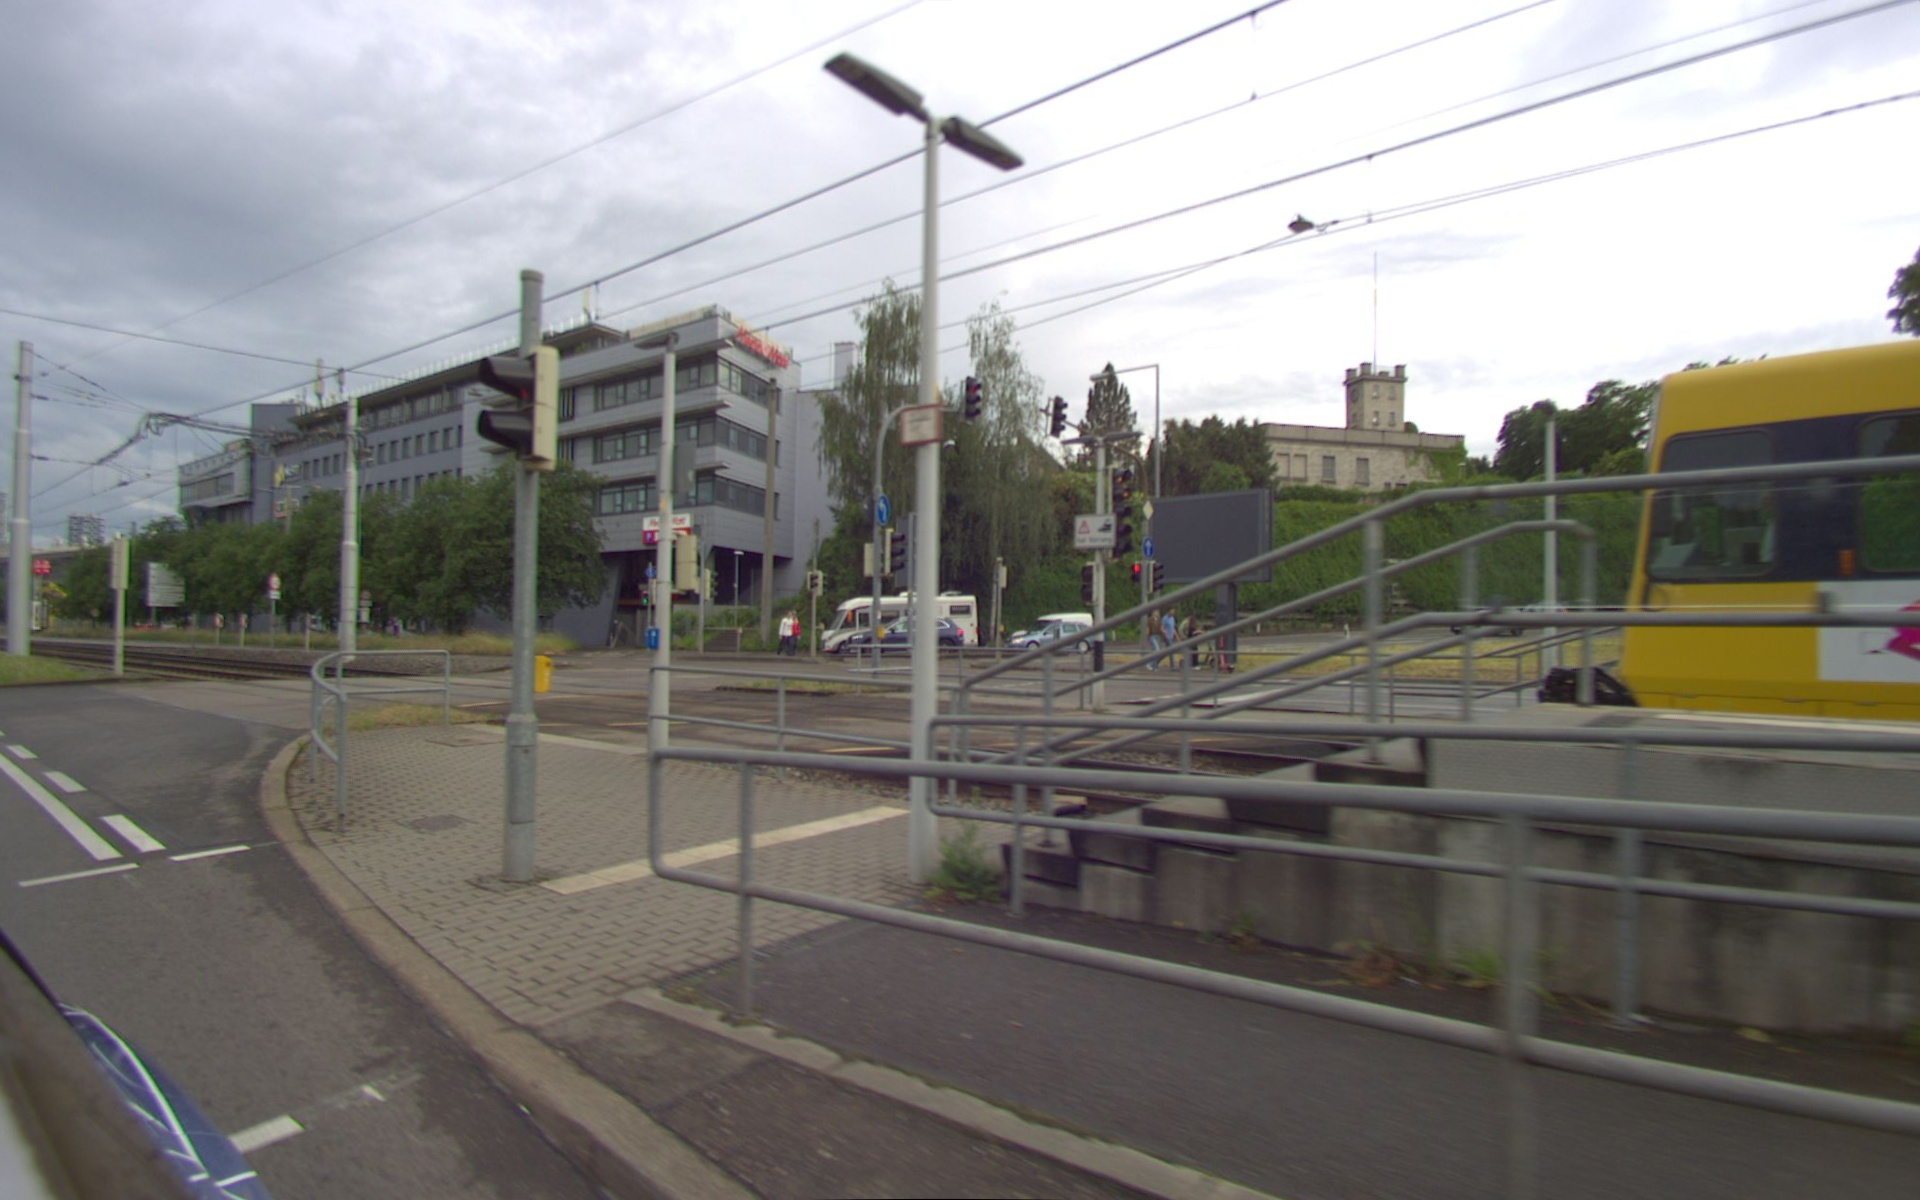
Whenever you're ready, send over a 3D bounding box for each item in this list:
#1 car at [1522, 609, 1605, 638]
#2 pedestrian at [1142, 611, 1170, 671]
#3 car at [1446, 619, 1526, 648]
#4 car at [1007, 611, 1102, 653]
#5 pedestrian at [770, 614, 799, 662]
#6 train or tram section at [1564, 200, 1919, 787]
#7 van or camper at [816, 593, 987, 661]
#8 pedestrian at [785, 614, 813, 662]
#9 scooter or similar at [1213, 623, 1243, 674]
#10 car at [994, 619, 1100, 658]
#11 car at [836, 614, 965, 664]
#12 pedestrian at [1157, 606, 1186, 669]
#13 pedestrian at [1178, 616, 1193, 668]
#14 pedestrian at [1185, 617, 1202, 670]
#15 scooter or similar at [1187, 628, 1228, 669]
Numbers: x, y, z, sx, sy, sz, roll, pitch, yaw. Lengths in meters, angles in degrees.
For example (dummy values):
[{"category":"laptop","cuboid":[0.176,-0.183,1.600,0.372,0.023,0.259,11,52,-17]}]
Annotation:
[{"category":"car","cuboid":[34.313,1.367,57.581,3.888,1.586,1.870,-2,-2,38]},{"category":"pedestrian","cuboid":[5.500,1.138,28.358,0.631,1.640,0.405,-1,1,42]},{"category":"car","cuboid":[29.656,1.881,57.099,3.881,1.586,1.874,-1,-2,32]},{"category":"car","cuboid":[4.678,1.549,50.153,4.260,1.894,2.007,-1,1,-27]},{"category":"pedestrian","cuboid":[-6.690,1.452,38.525,0.812,1.799,0.738,-2,-3,41]},{"category":"train or tram section","cuboid":[13.114,-0.785,2.950,19.324,4.003,2.838,0,1,42]},{"category":"van or camper","cuboid":[-2.748,1.207,47.539,7.631,2.905,2.307,-1,1,-17]},{"category":"pedestrian","cuboid":[-6.217,1.461,39.111,0.812,1.799,0.738,-2,-3,41]},{"category":"scooter or similar","cuboid":[7.430,1.326,28.086,0.405,1.374,1.216,0,-2,-5]},{"category":"car","cuboid":[3.881,1.686,45.407,4.260,1.519,2.007,-1,1,-22]},{"category":"car","cuboid":[-2.543,1.627,42.985,5.083,1.894,2.006,-1,1,-17]},{"category":"pedestrian","cuboid":[5.972,1.053,28.589,0.622,1.760,0.495,-1,1,42]},{"category":"pedestrian","cuboid":[6.702,1.255,30.105,0.306,1.530,0.307,-1,1,42]},{"category":"pedestrian","cuboid":[6.807,1.256,29.521,0.354,1.531,0.344,-1,1,42]},{"category":"scooter or similar","cuboid":[7.181,1.412,29.394,1.130,1.181,0.380,-1,-2,10]}]
